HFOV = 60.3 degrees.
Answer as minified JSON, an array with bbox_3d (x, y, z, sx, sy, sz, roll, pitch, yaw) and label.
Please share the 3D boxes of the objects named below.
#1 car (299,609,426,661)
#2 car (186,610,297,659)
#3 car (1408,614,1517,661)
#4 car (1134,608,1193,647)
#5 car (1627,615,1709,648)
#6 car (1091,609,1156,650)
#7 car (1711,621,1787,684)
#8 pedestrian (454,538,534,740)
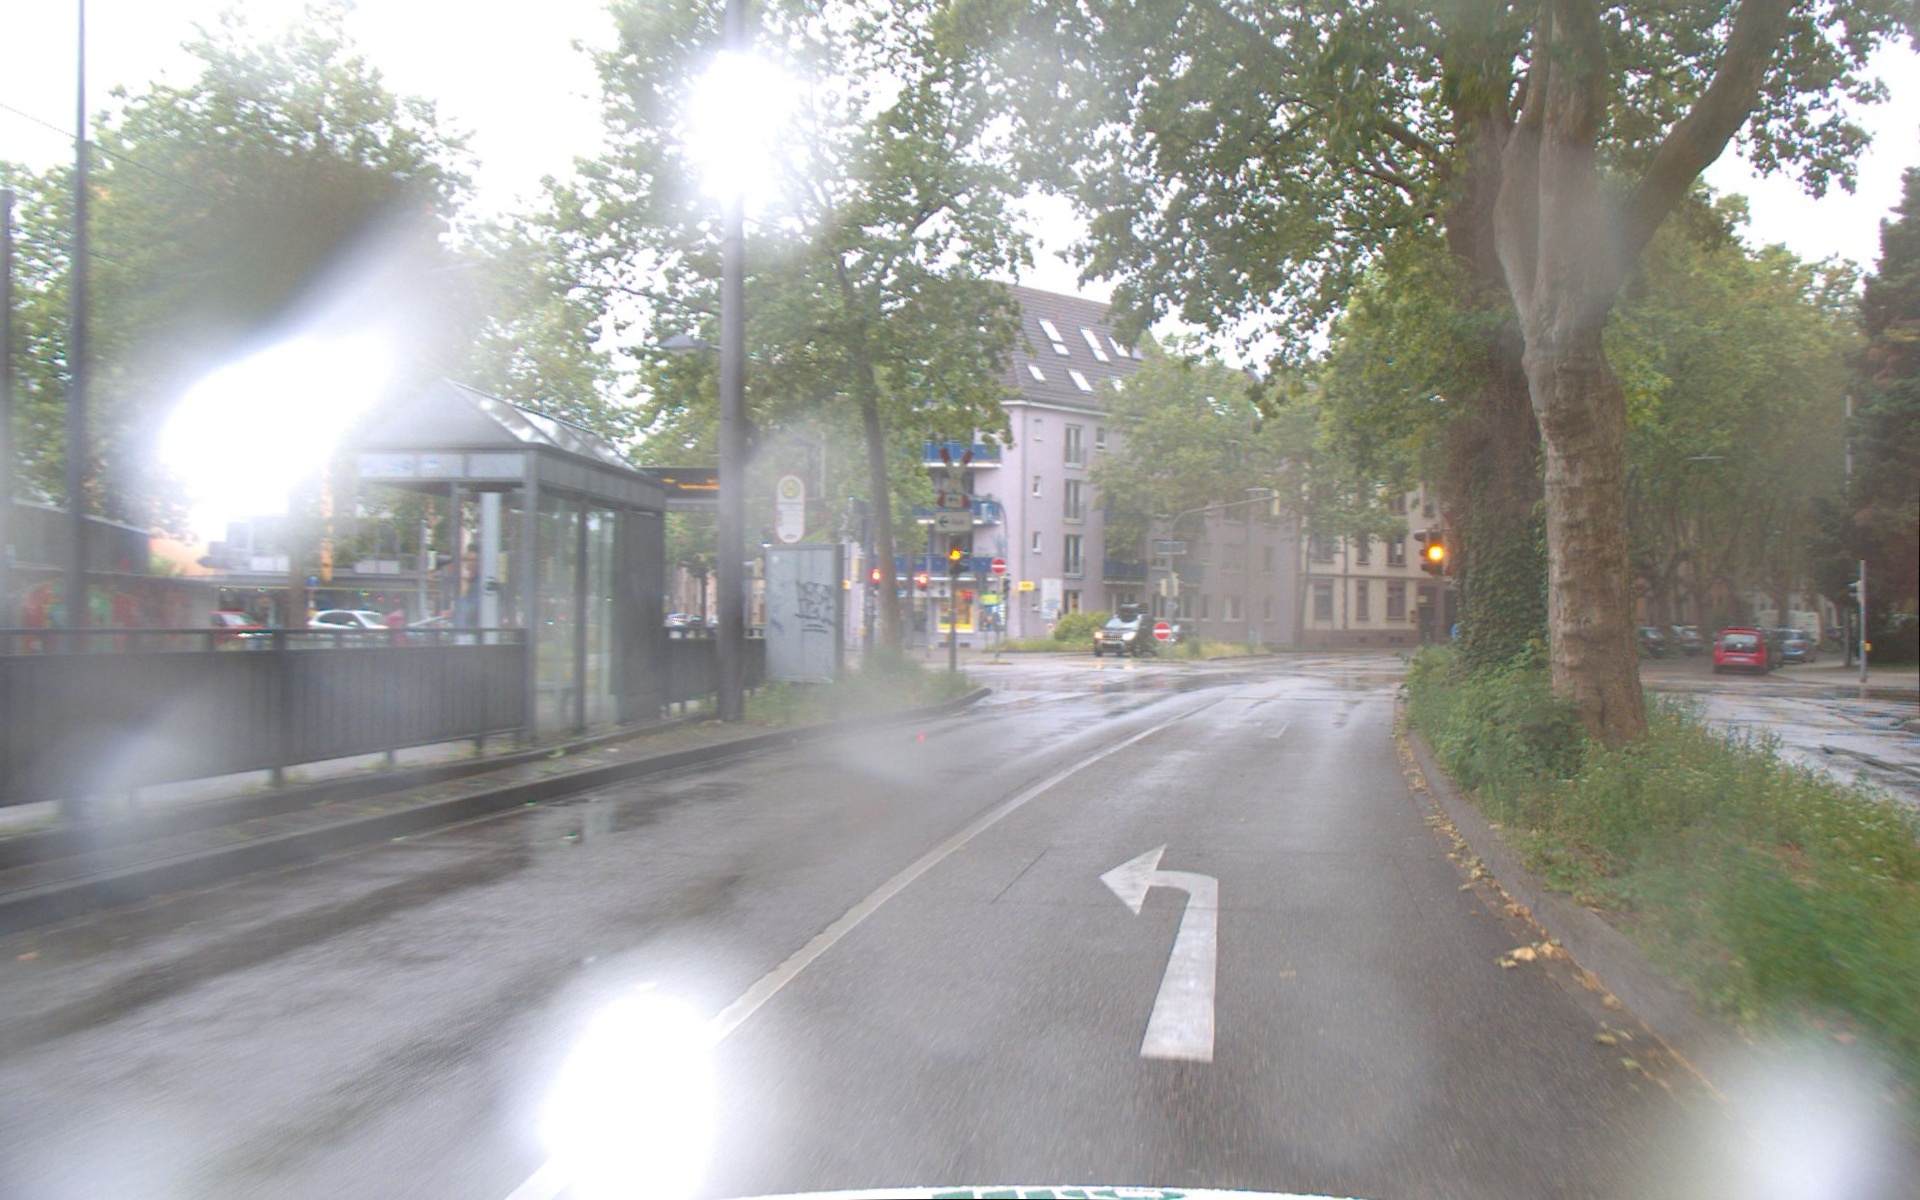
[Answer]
[{"bbox_3d":[-20.465,1.192,56.644,3.929,1.680,1.970,-2,-1,28],"label":"car"},{"bbox_3d":[-25.890,1.248,59.616,3.708,1.668,1.723,-2,-1,28],"label":"car"},{"bbox_3d":[17.347,1.296,57.128,3.409,1.550,1.519,-2,-1,24],"label":"car"},{"bbox_3d":[8.853,1.177,71.789,1.689,1.580,3.560,-2,-1,21],"label":"car"},{"bbox_3d":[36.614,1.634,85.590,3.556,1.646,1.670,-2,-1,44],"label":"car"},{"bbox_3d":[6.569,1.157,66.127,1.689,1.580,3.560,-2,-1,21],"label":"car"},{"bbox_3d":[27.514,1.803,57.610,1.957,2.049,3.991,-2,-1,31],"label":"car"},{"bbox_3d":[-4.188,0.342,14.843,0.574,1.761,0.563,-1,-1,-27],"label":"pedestrian"}]
